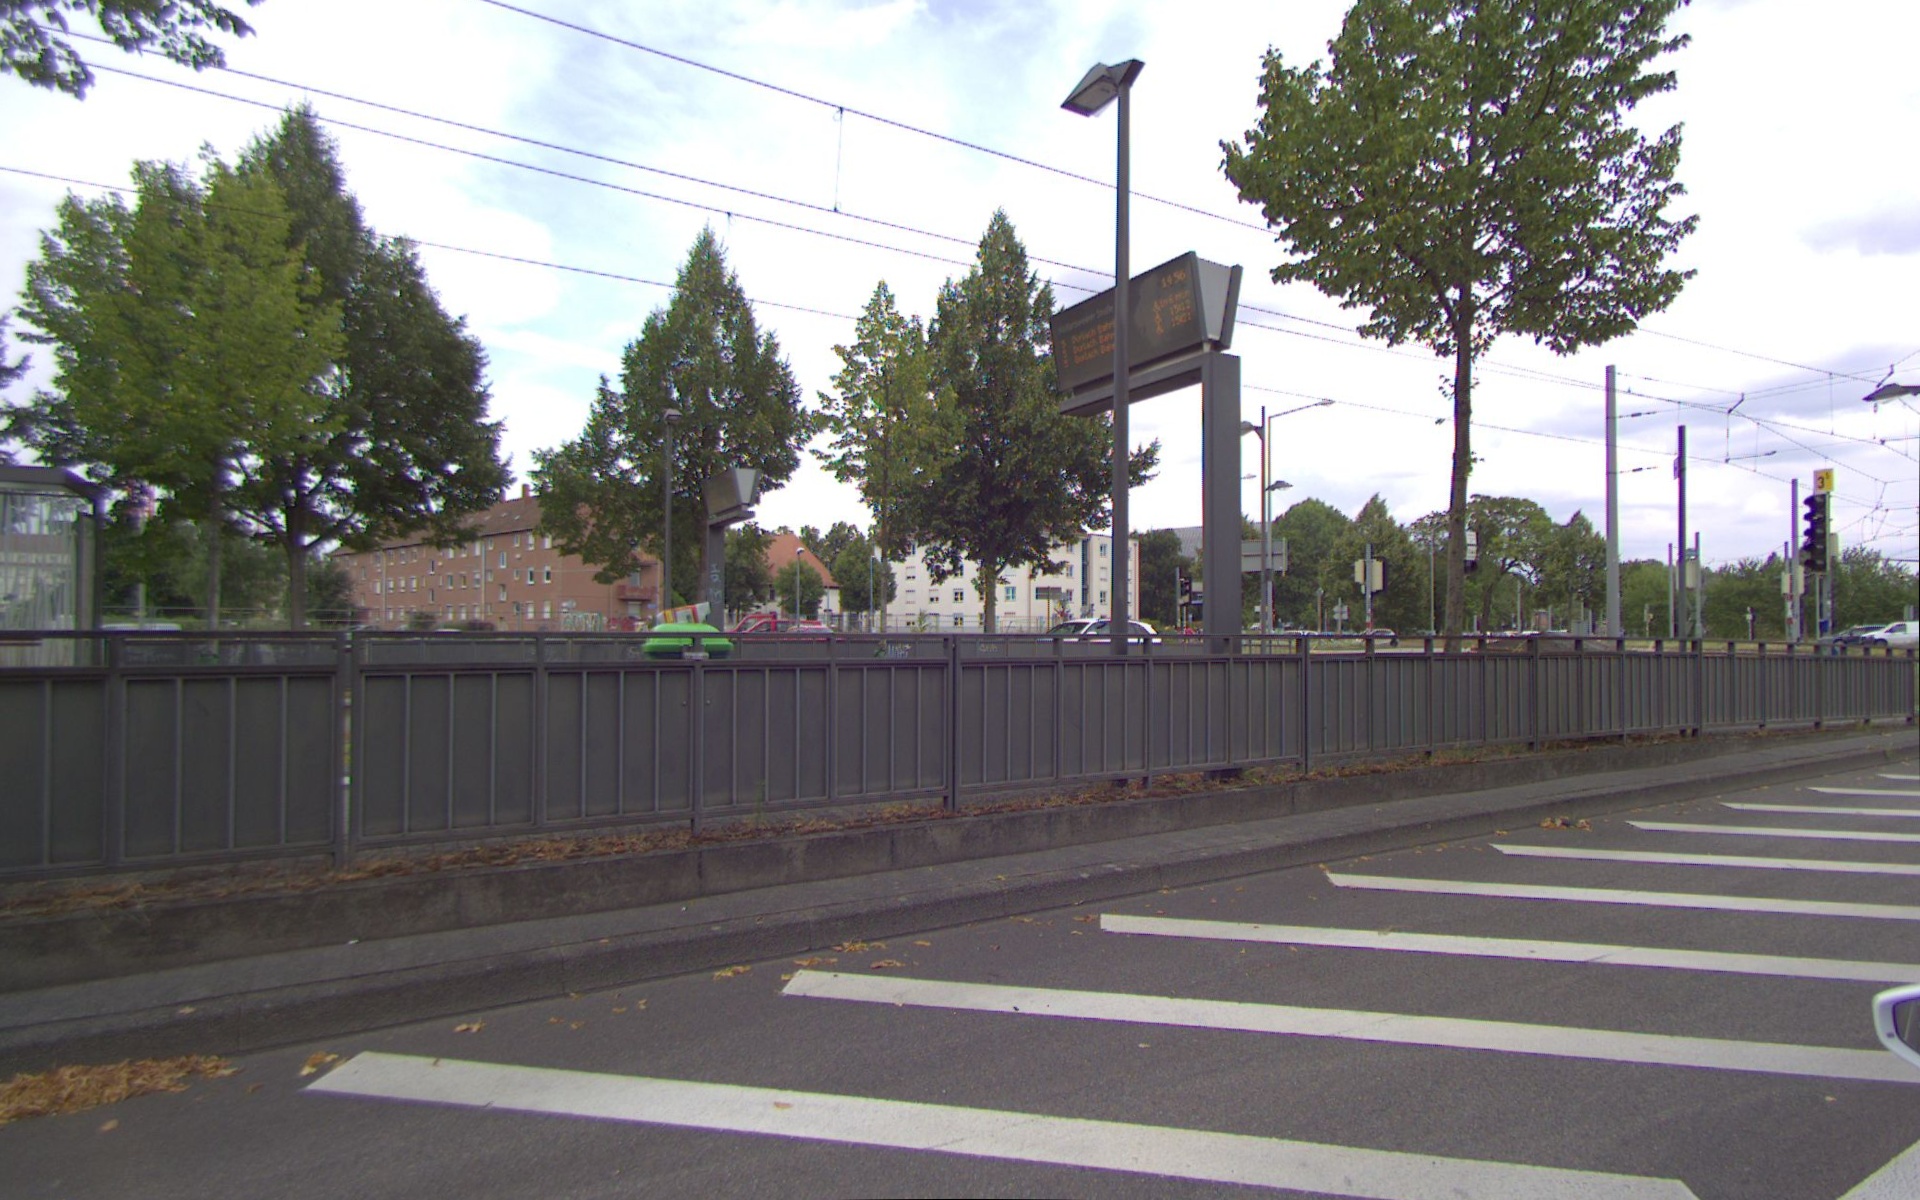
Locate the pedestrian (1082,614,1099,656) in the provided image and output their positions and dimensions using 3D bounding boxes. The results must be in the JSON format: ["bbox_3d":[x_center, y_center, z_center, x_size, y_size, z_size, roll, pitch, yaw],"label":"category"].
[{"bbox_3d":[5.855,1.575,44.986,0.637,1.874,0.491,0,-1,22],"label":"pedestrian"}]

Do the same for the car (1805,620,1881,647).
[{"bbox_3d":[65.258,2.466,74.313,3.933,1.742,1.994,2,1,35],"label":"car"}]

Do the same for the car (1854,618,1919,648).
[{"bbox_3d":[65.378,2.276,69.465,4.909,2.040,1.997,-1,-1,29],"label":"car"}]

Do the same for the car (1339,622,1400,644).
[{"bbox_3d":[31.718,2.548,77.872,3.920,1.663,2.001,0,-1,1],"label":"car"}]

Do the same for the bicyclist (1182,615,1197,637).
[{"bbox_3d":[16.110,1.817,70.582,0.875,1.583,0.749,-1,-1,28],"label":"bicyclist"}]

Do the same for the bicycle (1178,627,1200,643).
[{"bbox_3d":[16.115,2.447,70.662,0.795,1.144,2.703,-1,-1,30],"label":"bicycle"}]

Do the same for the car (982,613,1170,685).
[{"bbox_3d":[2.891,1.160,24.835,4.333,1.639,1.984,1,-1,-30],"label":"car"}]
